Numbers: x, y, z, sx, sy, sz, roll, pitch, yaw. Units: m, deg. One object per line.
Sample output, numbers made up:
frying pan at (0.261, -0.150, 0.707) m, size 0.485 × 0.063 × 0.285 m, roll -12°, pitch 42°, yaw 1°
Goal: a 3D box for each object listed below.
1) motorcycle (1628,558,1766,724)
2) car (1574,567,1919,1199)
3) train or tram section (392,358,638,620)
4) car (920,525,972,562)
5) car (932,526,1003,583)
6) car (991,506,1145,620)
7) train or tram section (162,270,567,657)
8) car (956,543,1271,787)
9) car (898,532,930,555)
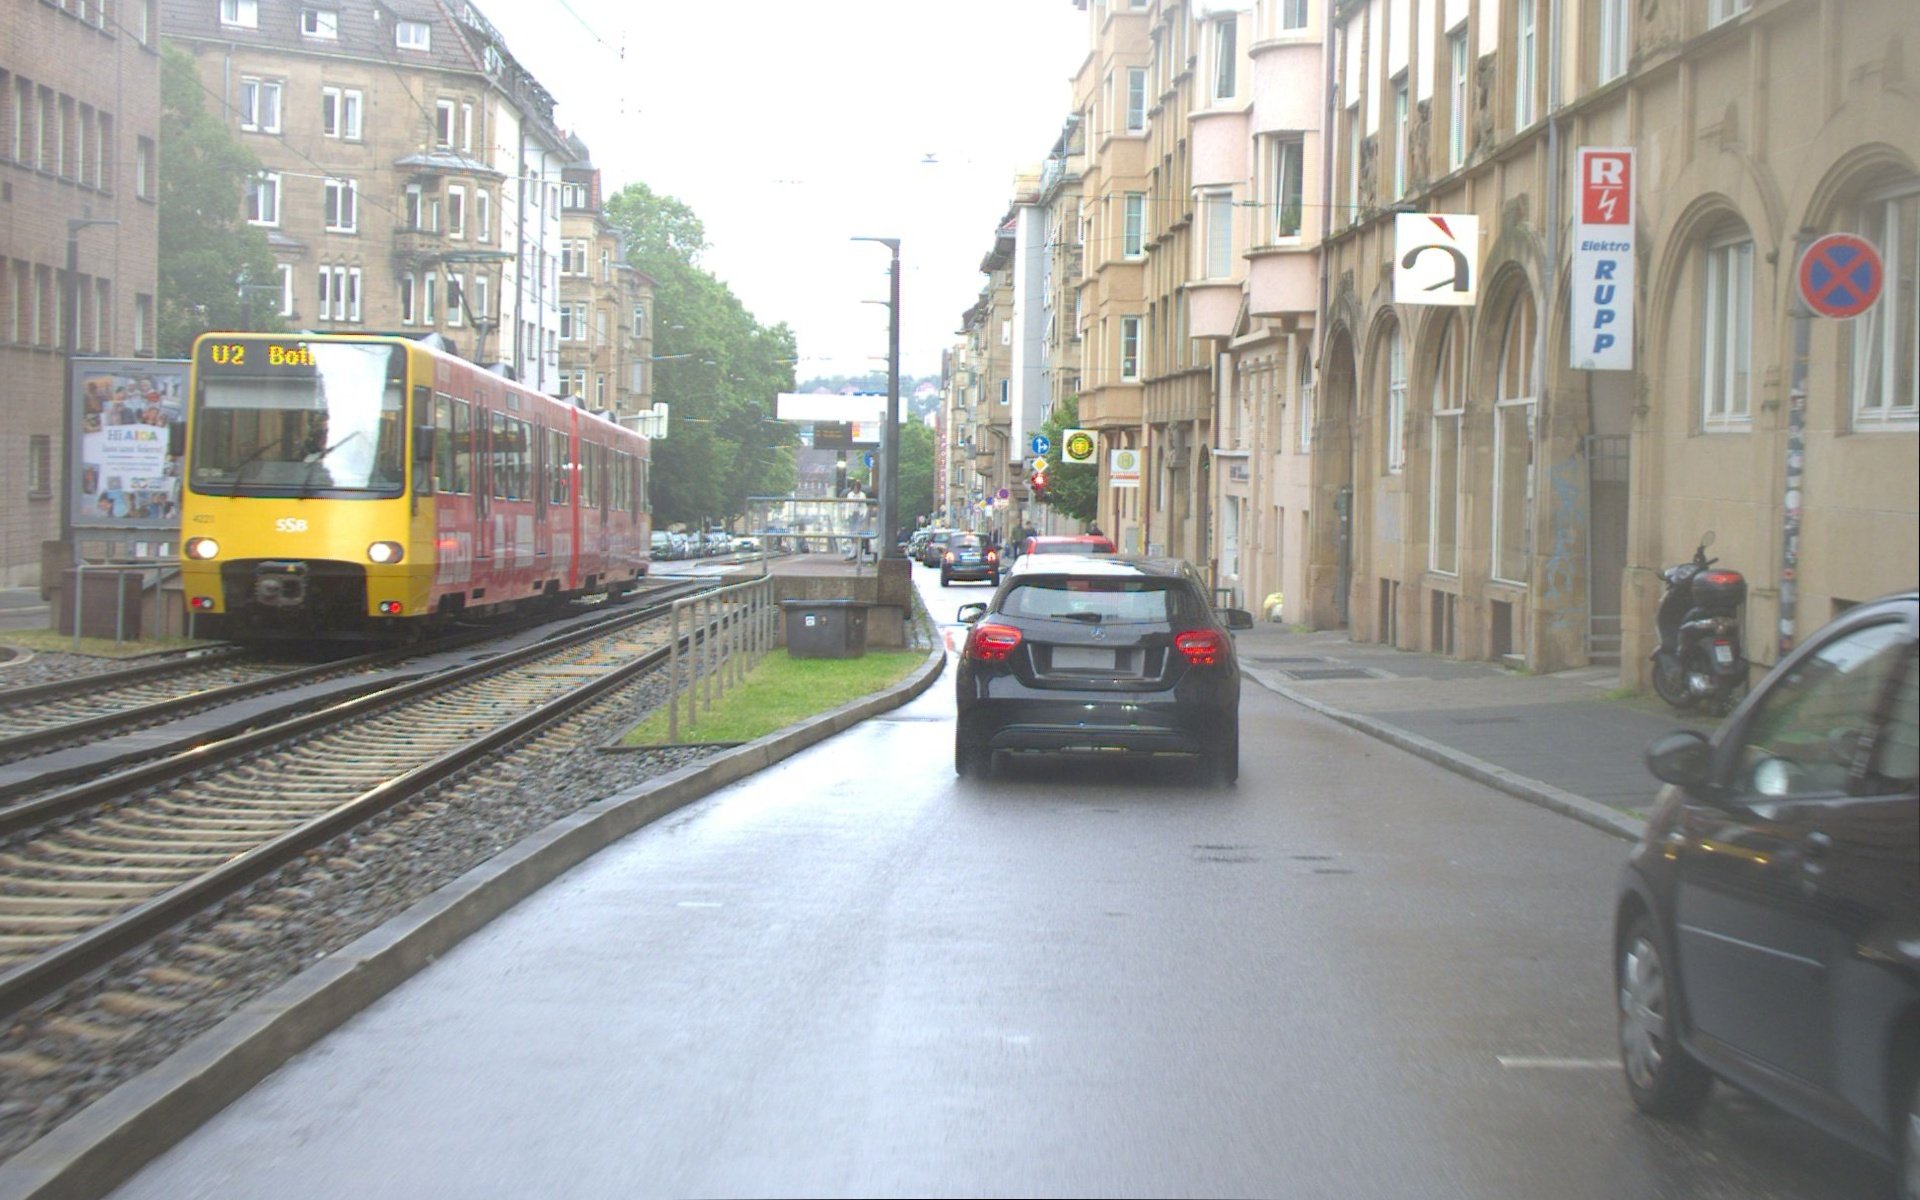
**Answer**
motorcycle at (5.621, 0.285, 26.325) m, size 0.556 × 1.156 × 2.269 m, roll -3°, pitch 1°, yaw 1°
car at (2.629, 0.672, 8.065) m, size 1.591 × 1.435 × 3.310 m, roll 2°, pitch 0°, yaw -3°
train or tram section at (-7.633, -1.892, 61.096) m, size 2.745 × 4.048 × 15.663 m, roll 0°, pitch 1°, yaw -2°
car at (-0.605, -2.413, 147.175) m, size 2.134 × 1.520 × 4.246 m, roll 1°, pitch 1°, yaw -1°
car at (0.229, -1.286, 96.286) m, size 1.887 × 1.520 × 4.245 m, roll 1°, pitch 1°, yaw 1°
car at (1.496, -0.536, 49.337) m, size 1.993 × 1.520 × 4.246 m, roll 1°, pitch 1°, yaw -1°
train or tram section at (-7.254, -1.619, 44.789) m, size 2.745 × 4.048 × 17.216 m, roll 0°, pitch 1°, yaw -2°
car at (0.920, 0.362, 22.581) m, size 1.834 × 1.448 × 3.902 m, roll 1°, pitch 1°, yaw -1°
car at (-3.225, -3.969, 241.213) m, size 2.134 × 1.520 × 4.246 m, roll 1°, pitch 1°, yaw -1°
